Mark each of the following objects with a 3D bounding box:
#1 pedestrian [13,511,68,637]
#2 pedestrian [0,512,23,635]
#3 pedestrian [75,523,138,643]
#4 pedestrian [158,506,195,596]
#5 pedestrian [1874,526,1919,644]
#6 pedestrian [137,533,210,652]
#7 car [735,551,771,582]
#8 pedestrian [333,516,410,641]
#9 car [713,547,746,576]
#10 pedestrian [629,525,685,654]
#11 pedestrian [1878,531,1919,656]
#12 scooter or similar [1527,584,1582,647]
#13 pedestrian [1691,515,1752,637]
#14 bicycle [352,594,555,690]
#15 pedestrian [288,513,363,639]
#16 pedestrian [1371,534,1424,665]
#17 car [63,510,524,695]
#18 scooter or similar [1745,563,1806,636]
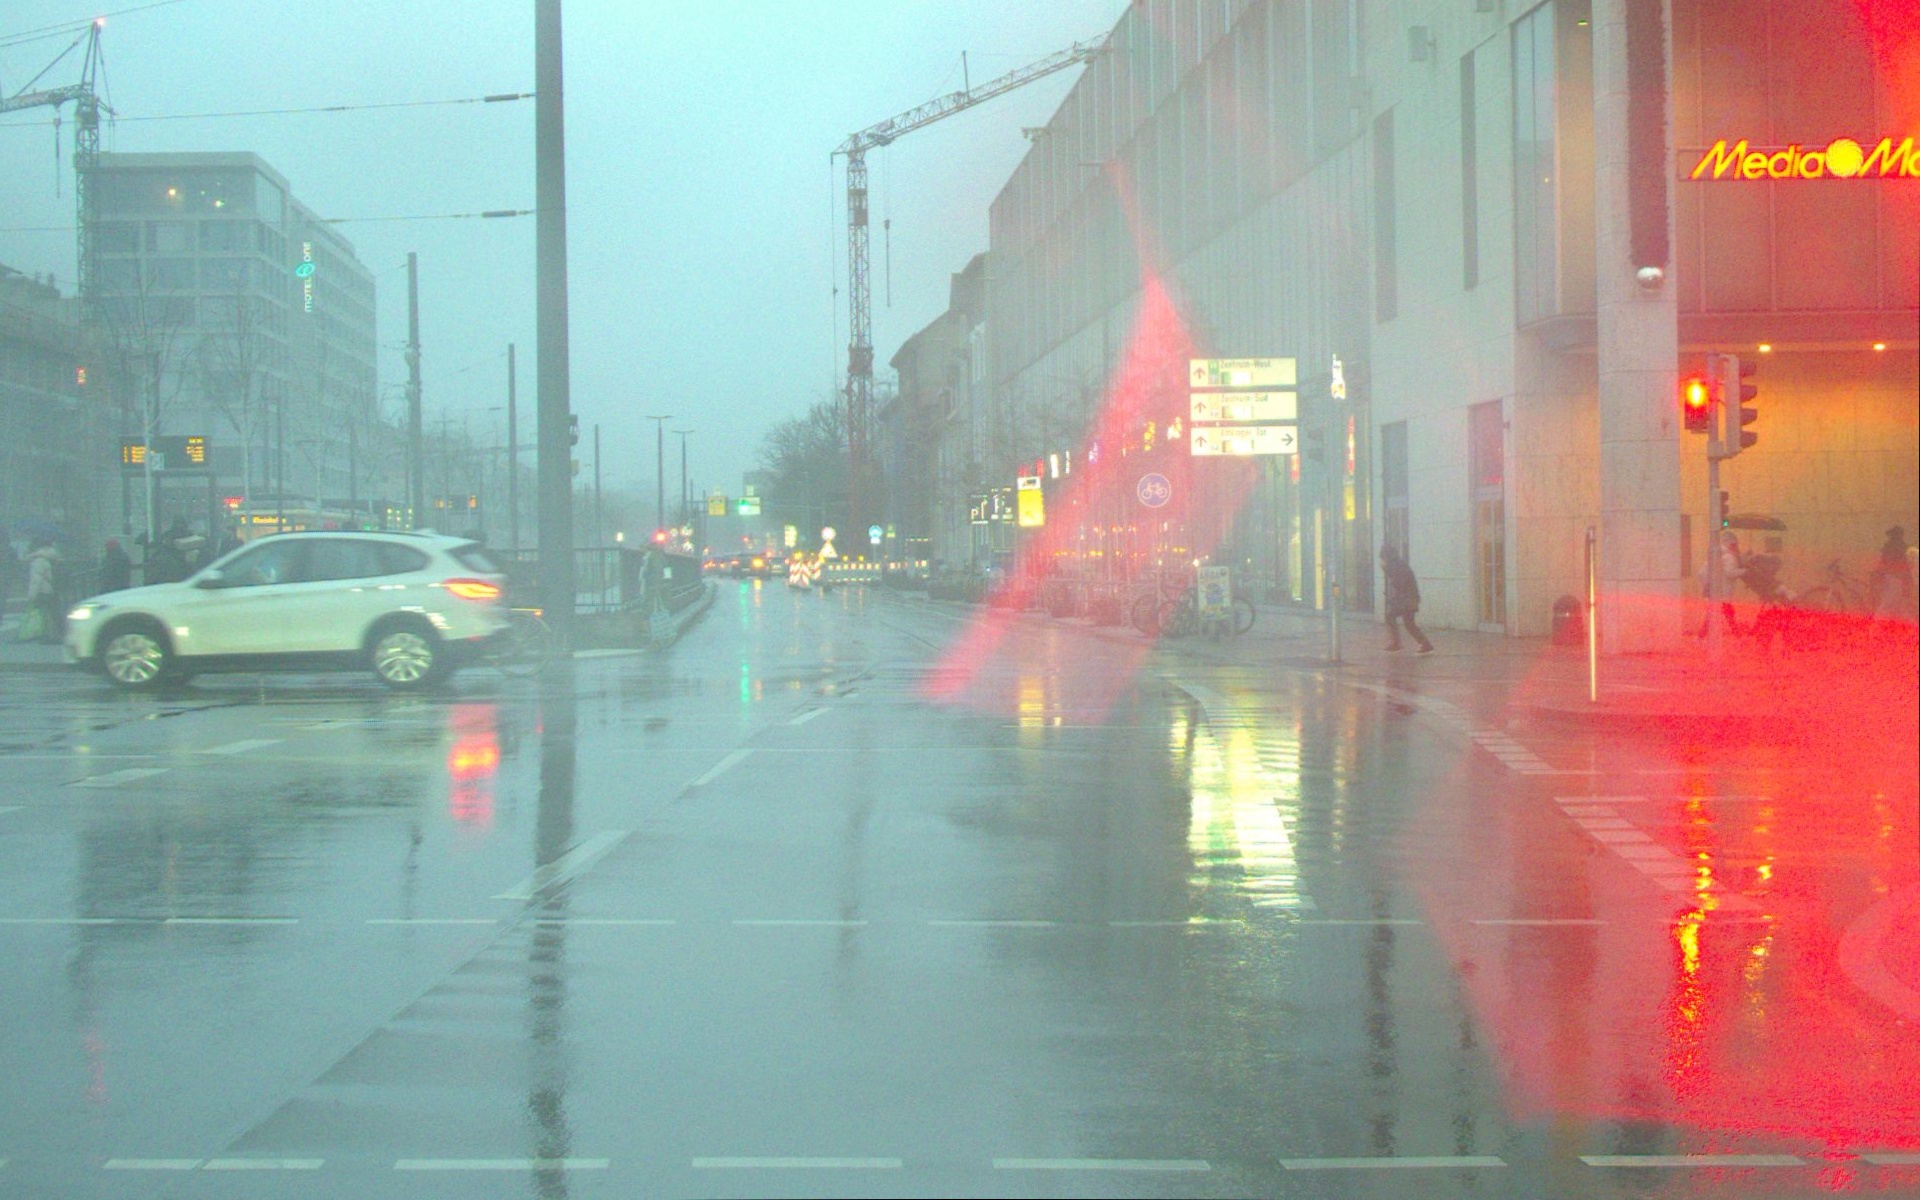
[{"bbox_3d":[-12.814,-0.362,47.927,0.619,1.740,0.613,-1,1,-6],"label":"pedestrian"},{"bbox_3d":[-13.802,-0.377,49.224,0.619,1.740,0.613,-1,1,-6],"label":"pedestrian"},{"bbox_3d":[-11.689,-0.238,47.103,0.706,1.613,0.613,-1,1,-3],"label":"pedestrian"},{"bbox_3d":[-15.255,-0.951,66.933,0.660,1.740,0.736,-1,1,-11],"label":"pedestrian"},{"bbox_3d":[13.713,-0.226,50.179,0.536,1.712,0.501,0,1,37],"label":"pedestrian"},{"bbox_3d":[-10.771,-0.109,47.105,0.809,1.602,0.745,-1,1,-1],"label":"pedestrian"},{"bbox_3d":[-12.284,-1.970,204.045,1.888,1.777,3.714,1,0,-1],"label":"car"},{"bbox_3d":[-8.043,-0.301,46.996,0.843,1.682,0.677,-1,1,9],"label":"pedestrian"},{"bbox_3d":[-14.591,-2.444,218.037,1.888,1.777,3.714,1,0,-1],"label":"car"},{"bbox_3d":[-4.178,-0.153,47.457,0.703,1.754,0.652,-1,1,-1],"label":"pedestrian"},{"bbox_3d":[13.478,-0.101,48.787,0.702,1.754,0.667,-1,1,-1],"label":"pedestrian"},{"bbox_3d":[8.867,0.227,51.276,0.741,0.913,0.400,-1,1,1],"label":"scooter or similar"},{"bbox_3d":[10.536,-0.334,47.573,0.741,1.661,0.400,-1,1,0],"label":"pedestrian"},{"bbox_3d":[-5.618,0.465,38.135,2.129,0.988,0.541,-2,0,6],"label":"bicycle"},{"bbox_3d":[-8.550,-0.327,46.348,0.831,1.673,0.619,-1,1,7],"label":"pedestrian"},{"bbox_3d":[5.946,-0.008,46.752,0.633,1.766,0.484,-1,1,-2],"label":"pedestrian"},{"bbox_3d":[-6.670,0.012,34.701,4.302,1.755,1.707,-1,1,0],"label":"car"},{"bbox_3d":[11.285,-0.013,47.582,0.741,0.990,0.400,-1,1,0],"label":"scooter or similar"}]
